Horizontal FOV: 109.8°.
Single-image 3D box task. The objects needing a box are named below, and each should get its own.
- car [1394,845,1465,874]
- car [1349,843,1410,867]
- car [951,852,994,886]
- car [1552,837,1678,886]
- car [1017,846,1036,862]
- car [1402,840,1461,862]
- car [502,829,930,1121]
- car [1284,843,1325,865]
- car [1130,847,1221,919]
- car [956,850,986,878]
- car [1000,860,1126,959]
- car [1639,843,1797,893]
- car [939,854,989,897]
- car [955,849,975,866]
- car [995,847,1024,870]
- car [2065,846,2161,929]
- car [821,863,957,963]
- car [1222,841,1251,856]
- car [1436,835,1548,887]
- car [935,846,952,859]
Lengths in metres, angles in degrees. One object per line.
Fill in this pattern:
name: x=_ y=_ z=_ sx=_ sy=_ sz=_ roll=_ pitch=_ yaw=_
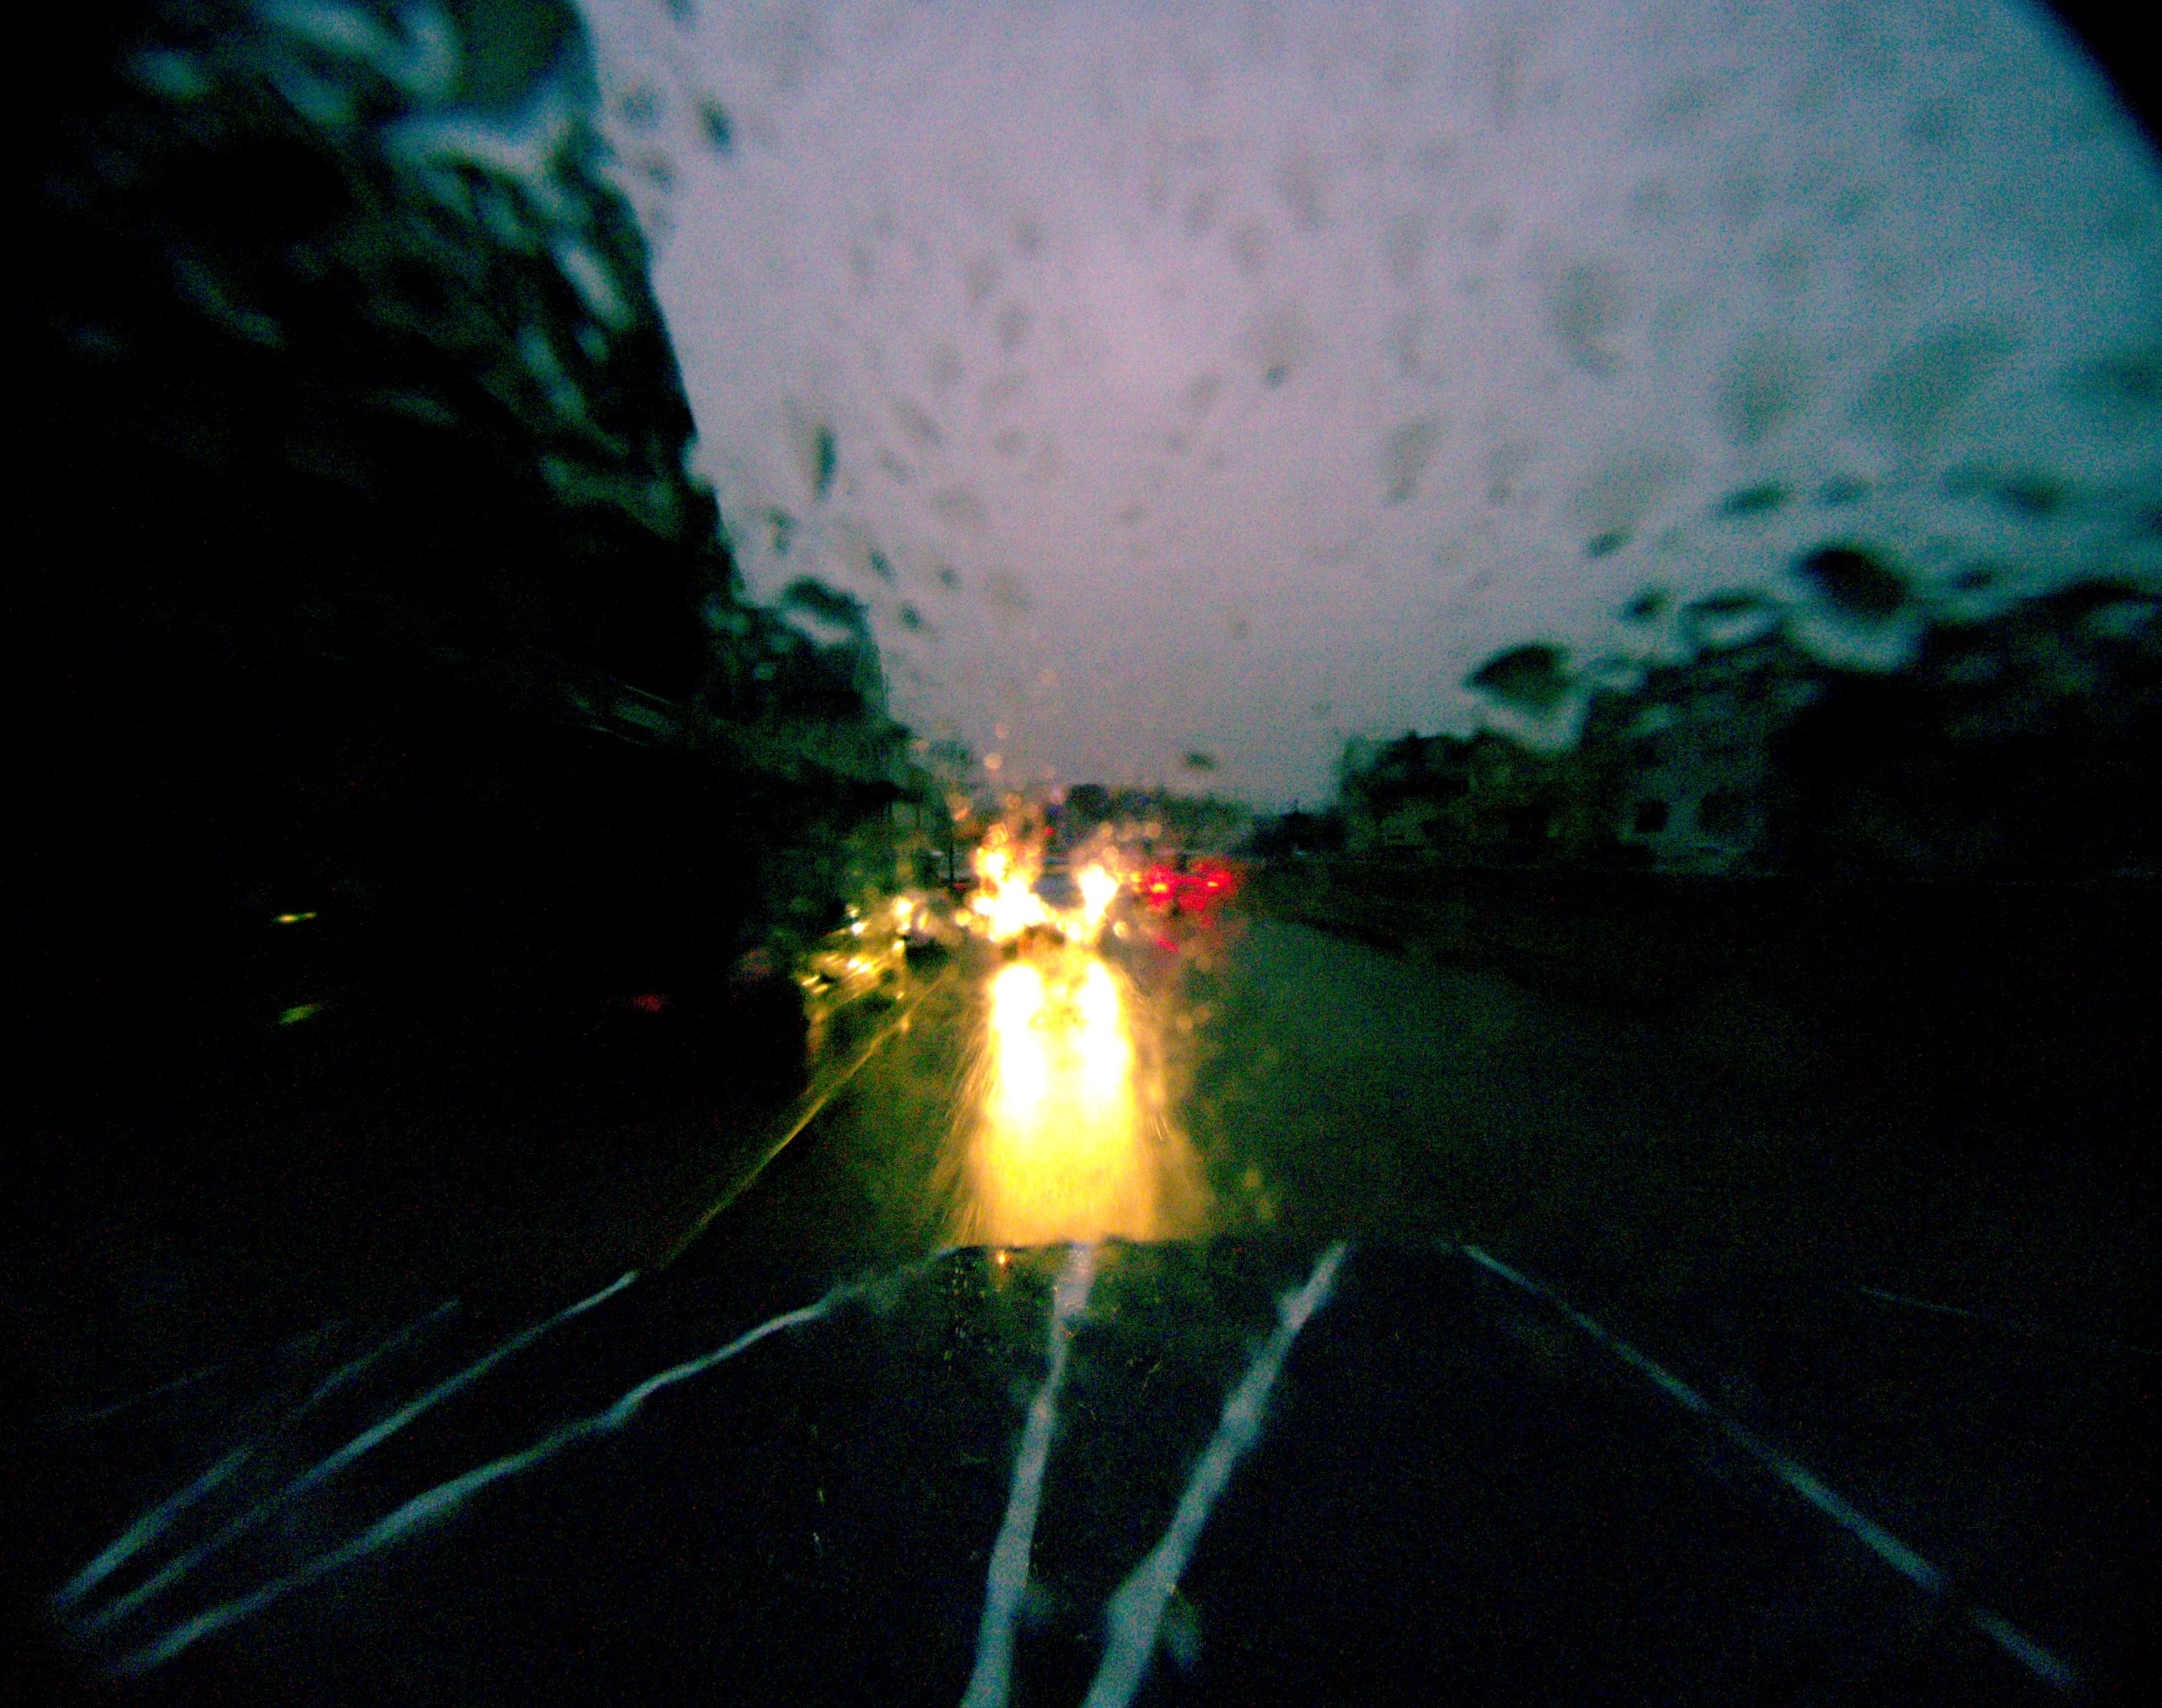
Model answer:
car: x=19.540 y=0.283 z=42.820 sx=1.882 sy=1.497 sz=4.142 roll=-2 pitch=1 yaw=-3
car: x=18.912 y=0.035 z=48.303 sx=1.882 sy=1.434 sz=4.646 roll=-2 pitch=1 yaw=-2
car: x=-5.593 y=0.704 z=39.196 sx=1.963 sy=1.524 sz=5.004 roll=-3 pitch=1 yaw=-9
car: x=20.544 y=0.249 z=29.465 sx=1.863 sy=1.672 sz=3.998 roll=-3 pitch=1 yaw=-3
car: x=-5.653 y=-0.039 z=78.613 sx=1.737 sy=1.527 sz=3.778 roll=-3 pitch=1 yaw=-6
car: x=28.332 y=-0.238 z=61.509 sx=4.033 sy=1.515 sz=1.815 roll=-3 pitch=1 yaw=14
car: x=-2.682 y=0.745 z=6.742 sx=1.774 sy=1.771 sz=4.000 roll=2 pitch=0 yaw=1
car: x=18.199 y=0.021 z=62.003 sx=1.822 sy=1.615 sz=3.983 roll=-4 pitch=1 yaw=-4
car: x=2.296 y=0.665 z=19.284 sx=1.667 sy=1.626 sz=3.549 roll=-2 pitch=0 yaw=-3
car: x=-6.683 y=0.573 z=45.968 sx=1.670 sy=1.567 sz=4.493 roll=-1 pitch=1 yaw=-9
car: x=-0.496 y=0.927 z=14.494 sx=1.999 sy=1.526 sz=3.998 roll=-3 pitch=0 yaw=-6
car: x=21.043 y=0.396 z=25.352 sx=1.774 sy=1.515 sz=4.030 roll=-1 pitch=1 yaw=-3
car: x=-4.337 y=0.749 z=28.590 sx=1.657 sy=1.446 sz=4.235 roll=1 pitch=0 yaw=-6
car: x=-11.271 y=0.322 z=73.629 sx=1.813 sy=1.555 sz=4.300 roll=-1 pitch=1 yaw=-10
car: x=-5.438 y=0.305 z=57.401 sx=1.907 sy=1.630 sz=4.563 roll=-1 pitch=0 yaw=-8
car: x=21.522 y=0.645 z=13.760 sx=1.879 sy=1.589 sz=4.224 roll=1 pitch=0 yaw=-2
car: x=-3.042 y=0.891 z=12.544 sx=1.650 sy=1.407 sz=2.726 roll=1 pitch=0 yaw=-3
car: x=16.298 y=-0.610 z=79.784 sx=1.681 sy=1.406 sz=3.830 roll=-4 pitch=2 yaw=-9
car: x=15.230 y=0.210 z=28.394 sx=1.805 sy=1.793 sz=3.858 roll=-1 pitch=1 yaw=-7
car: x=-19.542 y=-0.150 z=107.976 sx=1.918 sy=1.780 sz=4.559 roll=-1 pitch=0 yaw=-17
